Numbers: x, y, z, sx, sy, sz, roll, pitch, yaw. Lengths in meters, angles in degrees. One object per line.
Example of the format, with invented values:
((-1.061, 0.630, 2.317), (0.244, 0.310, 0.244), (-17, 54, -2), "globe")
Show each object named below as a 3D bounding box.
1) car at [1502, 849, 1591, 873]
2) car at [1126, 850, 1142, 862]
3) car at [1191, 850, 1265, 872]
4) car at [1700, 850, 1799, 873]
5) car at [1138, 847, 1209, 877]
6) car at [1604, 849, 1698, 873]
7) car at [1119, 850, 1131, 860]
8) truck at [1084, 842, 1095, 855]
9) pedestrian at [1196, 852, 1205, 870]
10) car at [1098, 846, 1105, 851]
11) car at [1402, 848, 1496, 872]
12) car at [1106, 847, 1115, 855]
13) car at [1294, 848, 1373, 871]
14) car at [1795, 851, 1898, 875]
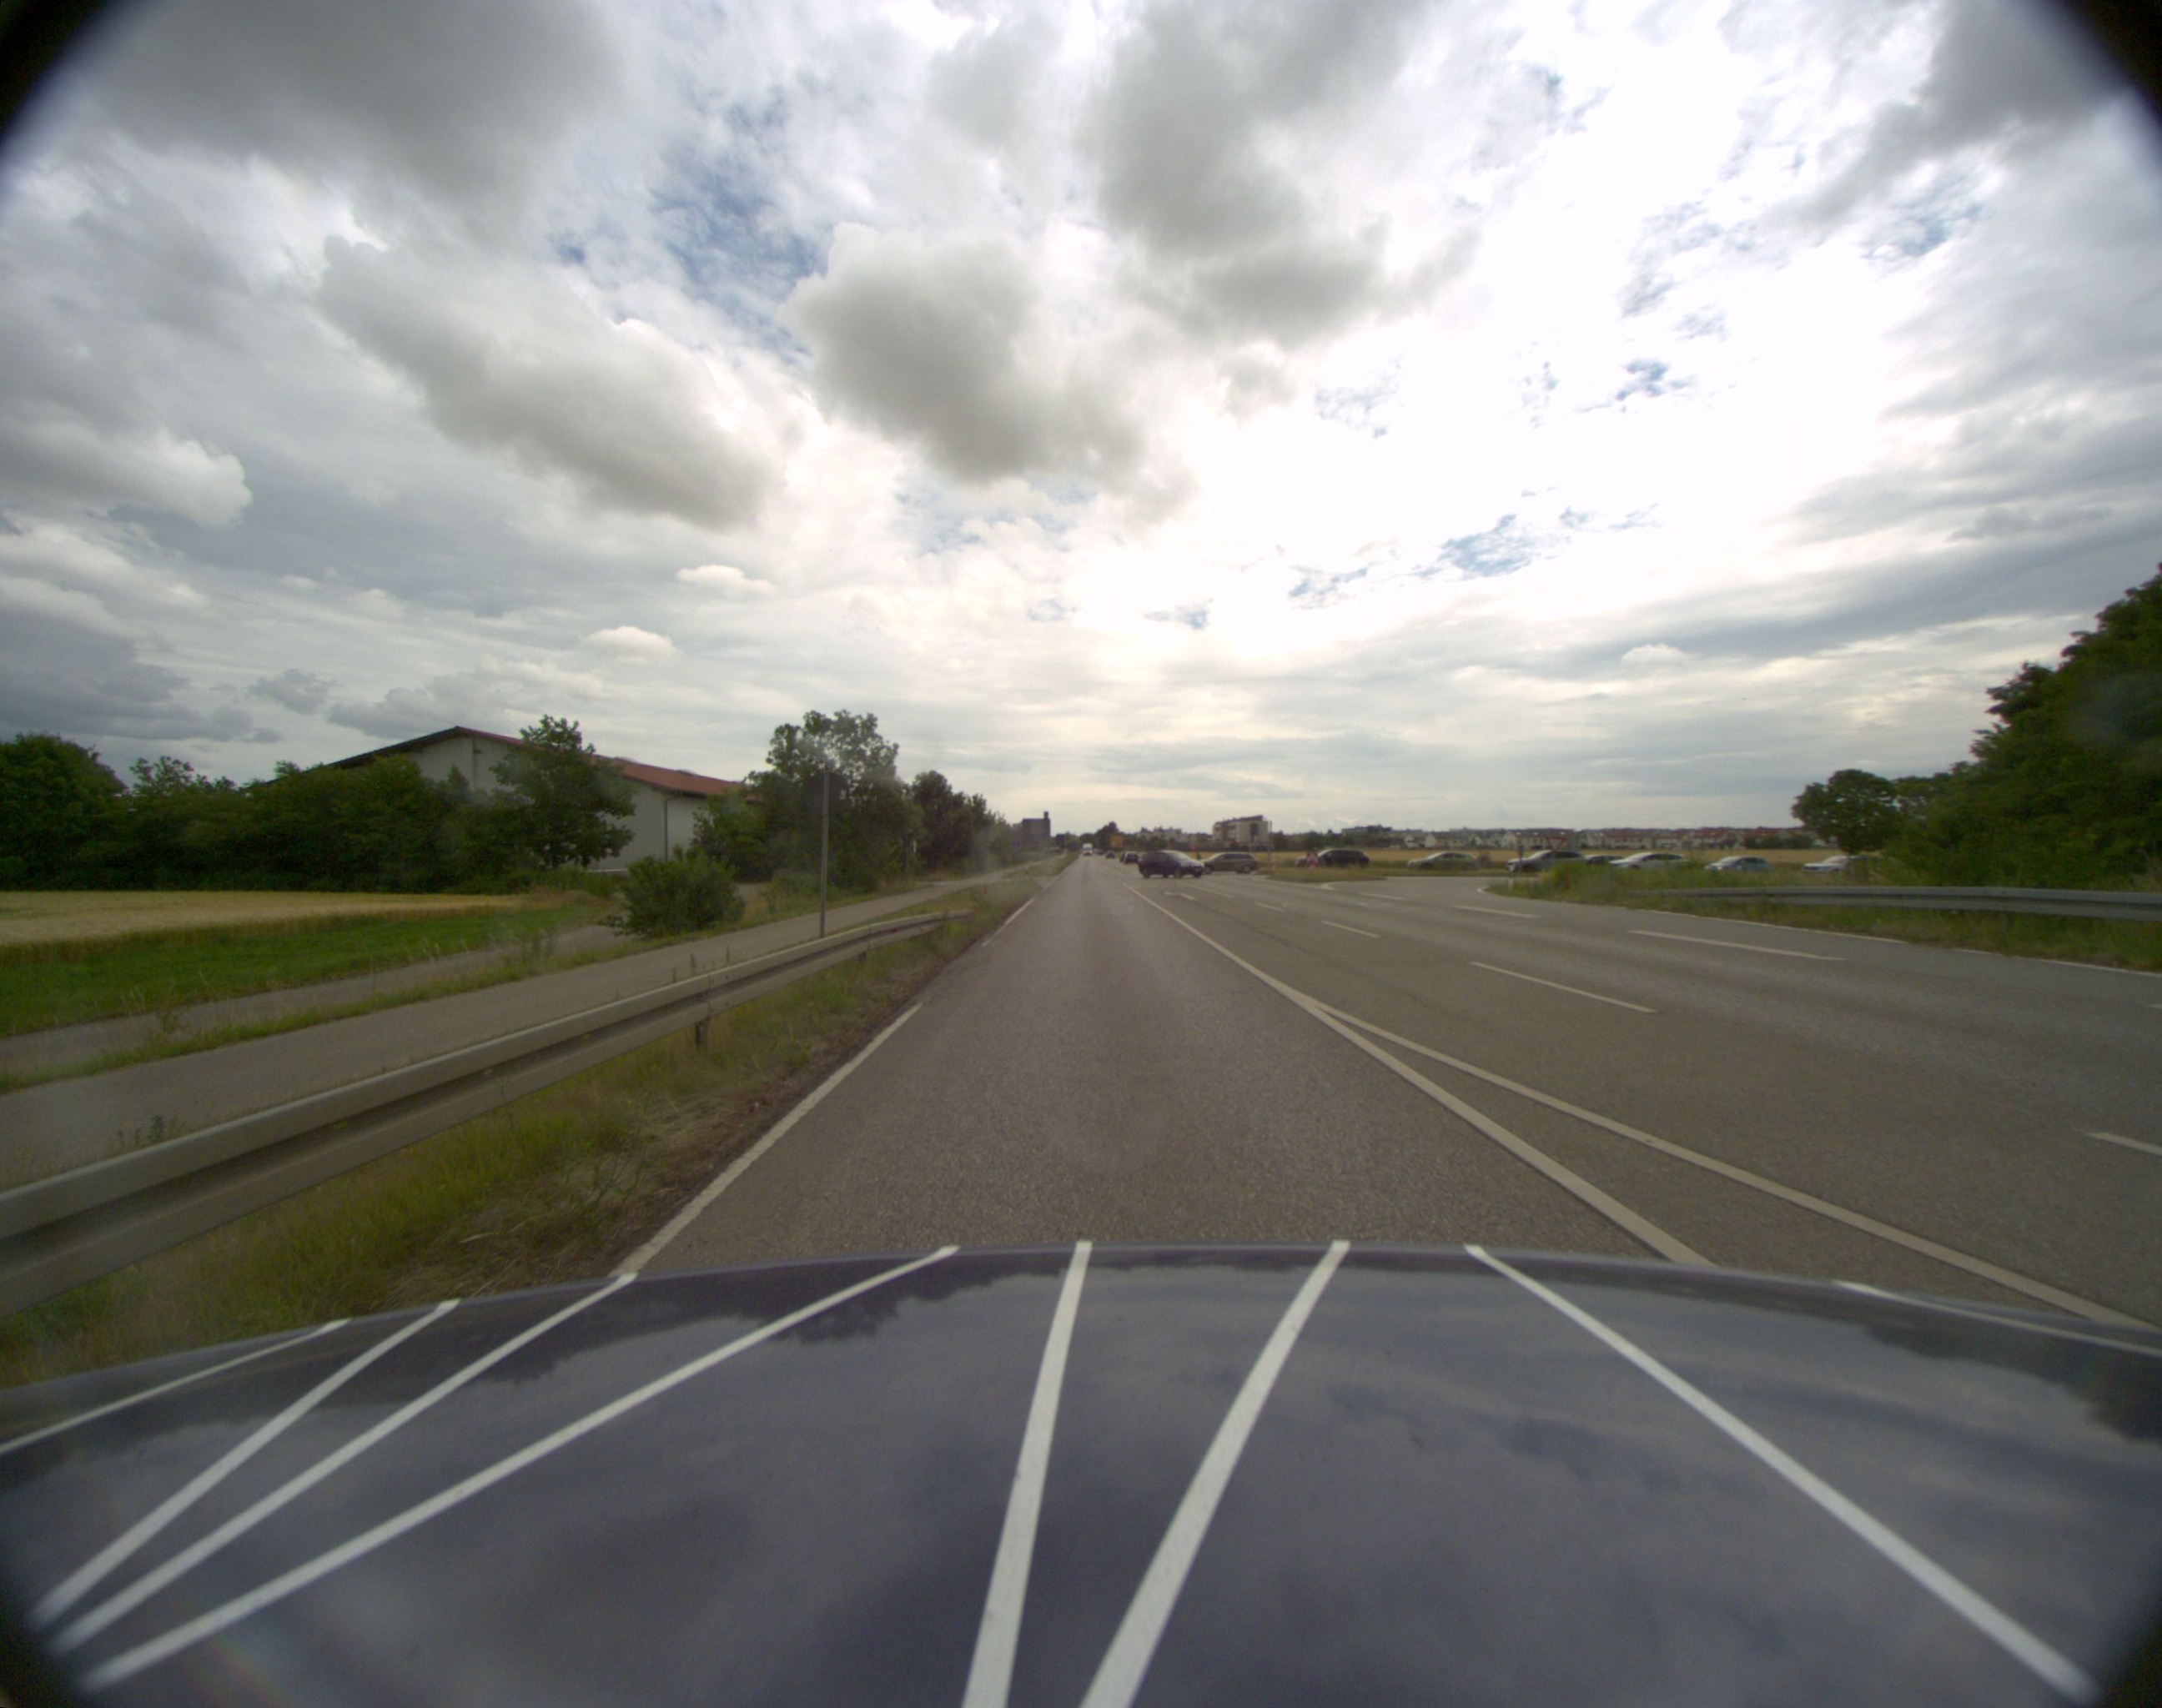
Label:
((30.654, 0.430, 50.100), (4.633, 1.508, 1.912), (0, 1, 7), "car")
((6.644, 0.250, 95.498), (1.746, 1.521, 4.199), (-1, 1, 2), "car")
((9.785, 0.454, 50.680), (4.464, 1.416, 1.909), (-1, 1, -7), "car")
((42.959, 0.471, 48.900), (4.500, 1.474, 1.912), (0, 1, 7), "car")
((5.473, 0.487, 45.426), (1.710, 1.602, 4.471), (-3, 1, -33), "car")
((36.838, 0.448, 49.215), (4.500, 1.474, 1.912), (0, 1, 7), "car")
((6.543, 0.102, 113.008), (1.665, 1.475, 3.168), (-2, 1, 0), "car")
((2.400, -1.467, 206.642), (2.813, 3.588, 11.218), (-1, 1, 1), "truck")
((10.547, 0.619, 67.067), (0.595, 1.596, 0.866), (2, 1, -2), "pedestrian")
((6.024, -1.527, 222.796), (1.740, 1.450, 4.130), (-1, 1, -1), "car")
((24.424, 0.402, 50.632), (5.295, 1.512, 1.912), (0, 1, 7), "car")
((5.880, -0.689, 152.130), (1.683, 1.512, 4.395), (-2, 1, 0), "car")
((16.900, 0.367, 51.092), (4.749, 1.523, 1.912), (0, 1, 7), "car")
((48.802, 0.547, 48.488), (4.501, 1.474, 1.911), (0, 1, 4), "car")
